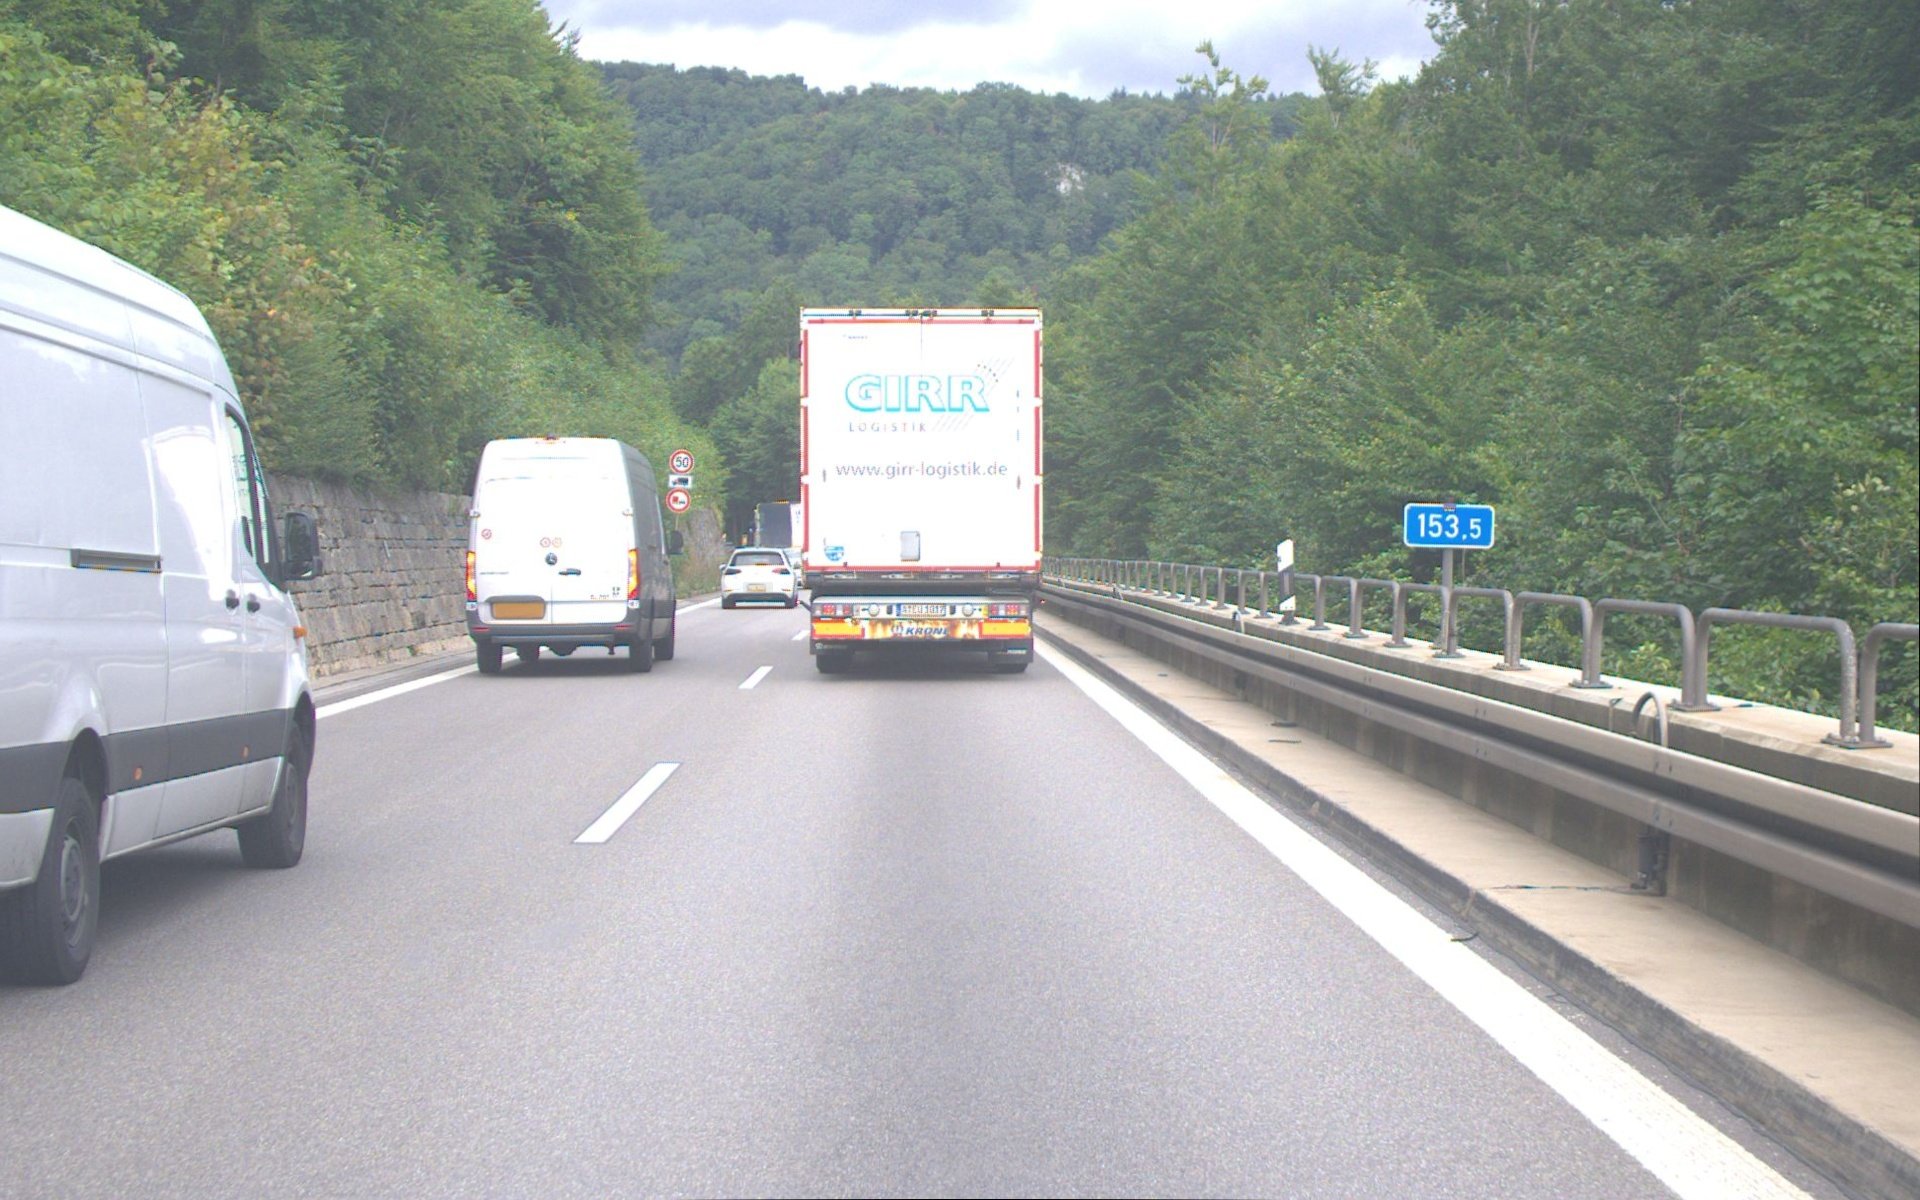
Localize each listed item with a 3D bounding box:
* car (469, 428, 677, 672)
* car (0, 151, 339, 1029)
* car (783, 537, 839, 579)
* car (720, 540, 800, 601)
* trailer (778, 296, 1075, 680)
[{"bbox_3d":[-4.478,-0.609,40.587,1.939,2.663,5.992,0,1,-2],"label":"car"},{"bbox_3d":[-3.948,-0.086,13.153,1.989,2.663,6.937,0,1,-1],"label":"car"},{"bbox_3d":[-5.147,-1.475,119.041,1.732,1.416,4.000,1,1,0],"label":"car"},{"bbox_3d":[-4.826,-0.728,83.328,1.732,1.416,4.000,1,1,-1],"label":"car"},{"bbox_3d":[-0.427,-1.416,41.866,3.057,3.972,12.138,1,2,-1],"label":"trailer"}]
